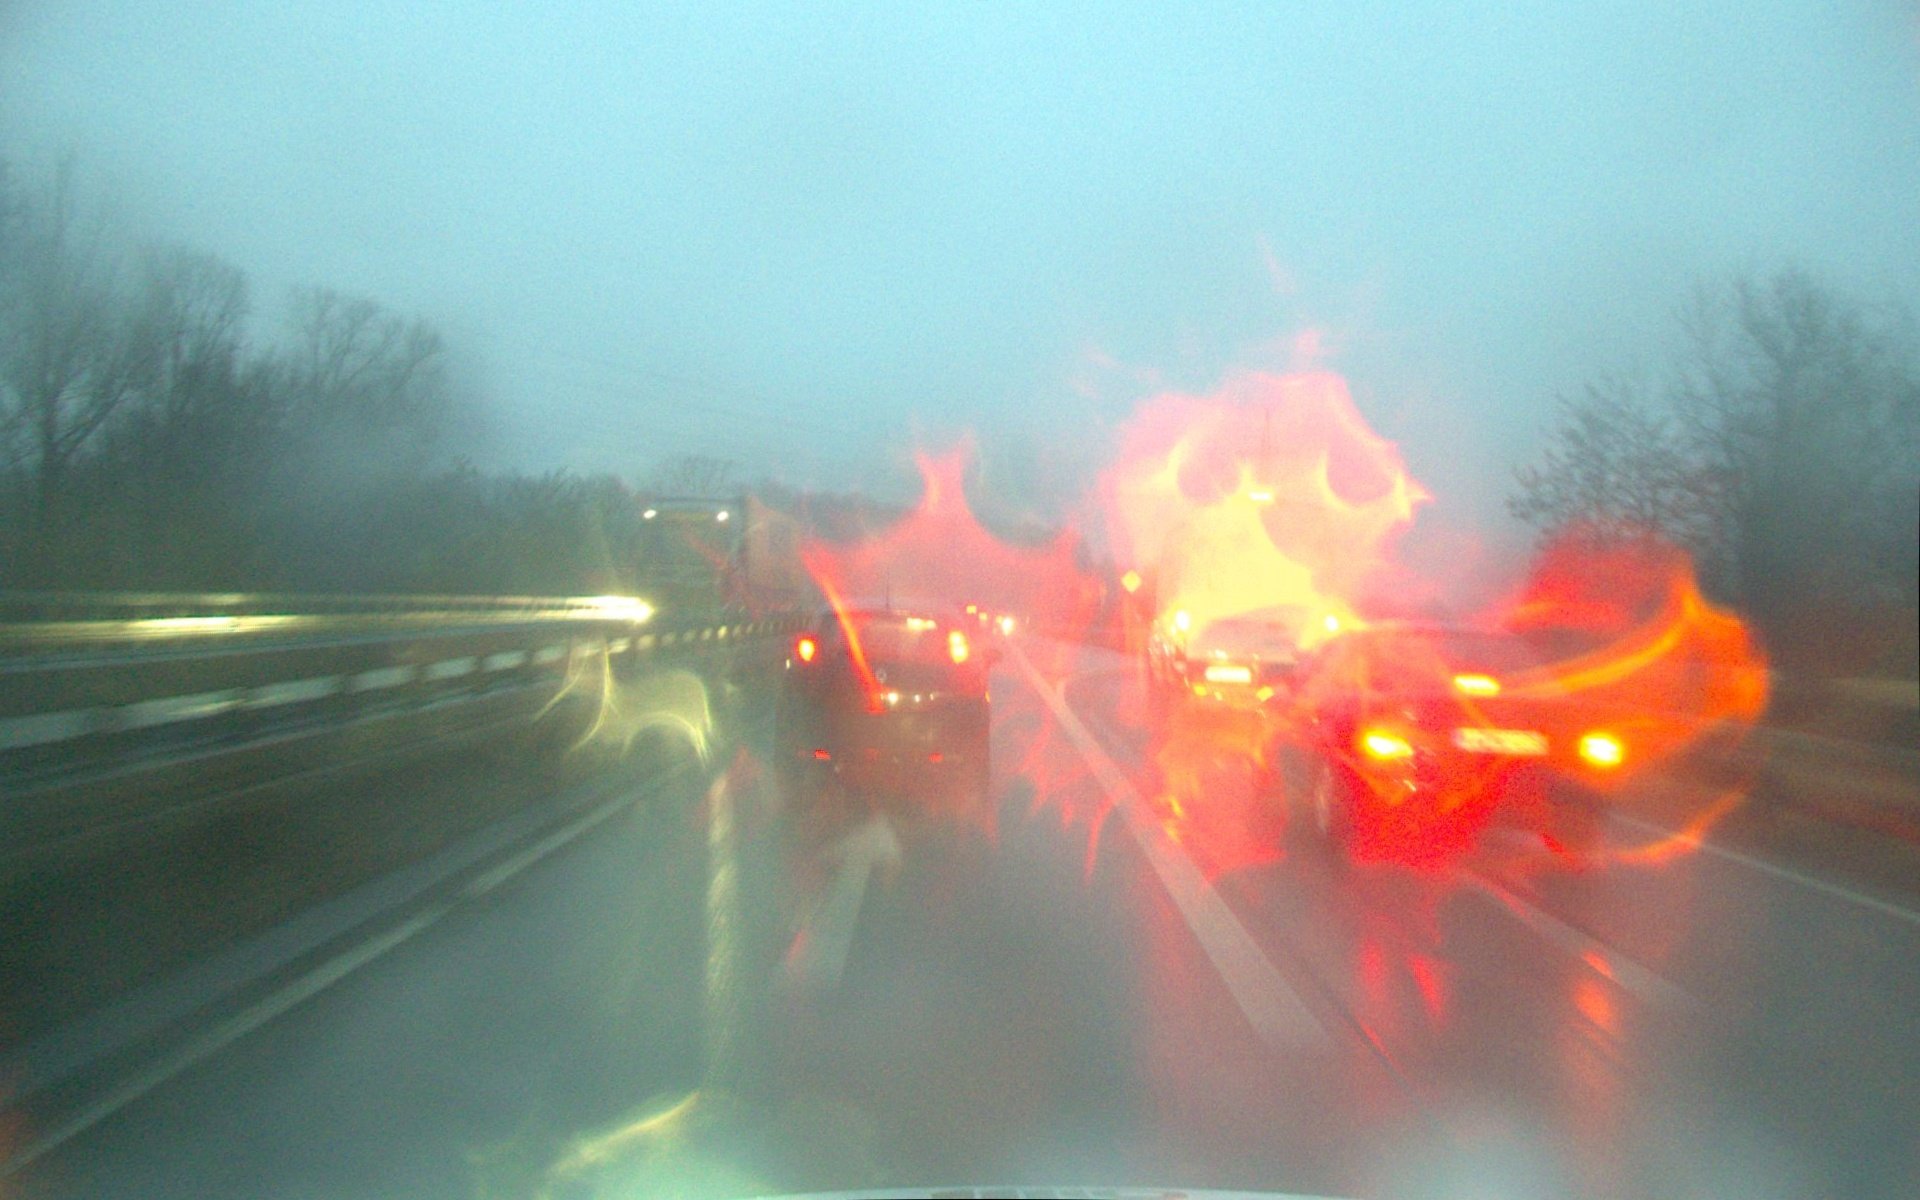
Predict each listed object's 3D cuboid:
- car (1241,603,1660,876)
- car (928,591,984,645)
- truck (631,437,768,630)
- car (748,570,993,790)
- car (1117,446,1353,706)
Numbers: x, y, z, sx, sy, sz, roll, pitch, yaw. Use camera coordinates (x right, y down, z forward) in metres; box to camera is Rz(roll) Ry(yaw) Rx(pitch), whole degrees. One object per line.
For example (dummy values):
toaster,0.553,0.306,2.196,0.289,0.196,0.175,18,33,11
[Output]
car,3.053,0.768,11.243,1.700,1.439,4.379,-1,0,2
car,-0.166,0.654,63.406,1.953,1.846,4.000,4,1,-1
truck,-6.698,-1.607,43.377,2.542,4.660,6.357,0,0,0
car,-0.602,0.601,13.887,1.694,1.559,4.043,1,-1,2
car,3.506,-0.264,22.448,2.235,3.018,6.391,0,0,1
